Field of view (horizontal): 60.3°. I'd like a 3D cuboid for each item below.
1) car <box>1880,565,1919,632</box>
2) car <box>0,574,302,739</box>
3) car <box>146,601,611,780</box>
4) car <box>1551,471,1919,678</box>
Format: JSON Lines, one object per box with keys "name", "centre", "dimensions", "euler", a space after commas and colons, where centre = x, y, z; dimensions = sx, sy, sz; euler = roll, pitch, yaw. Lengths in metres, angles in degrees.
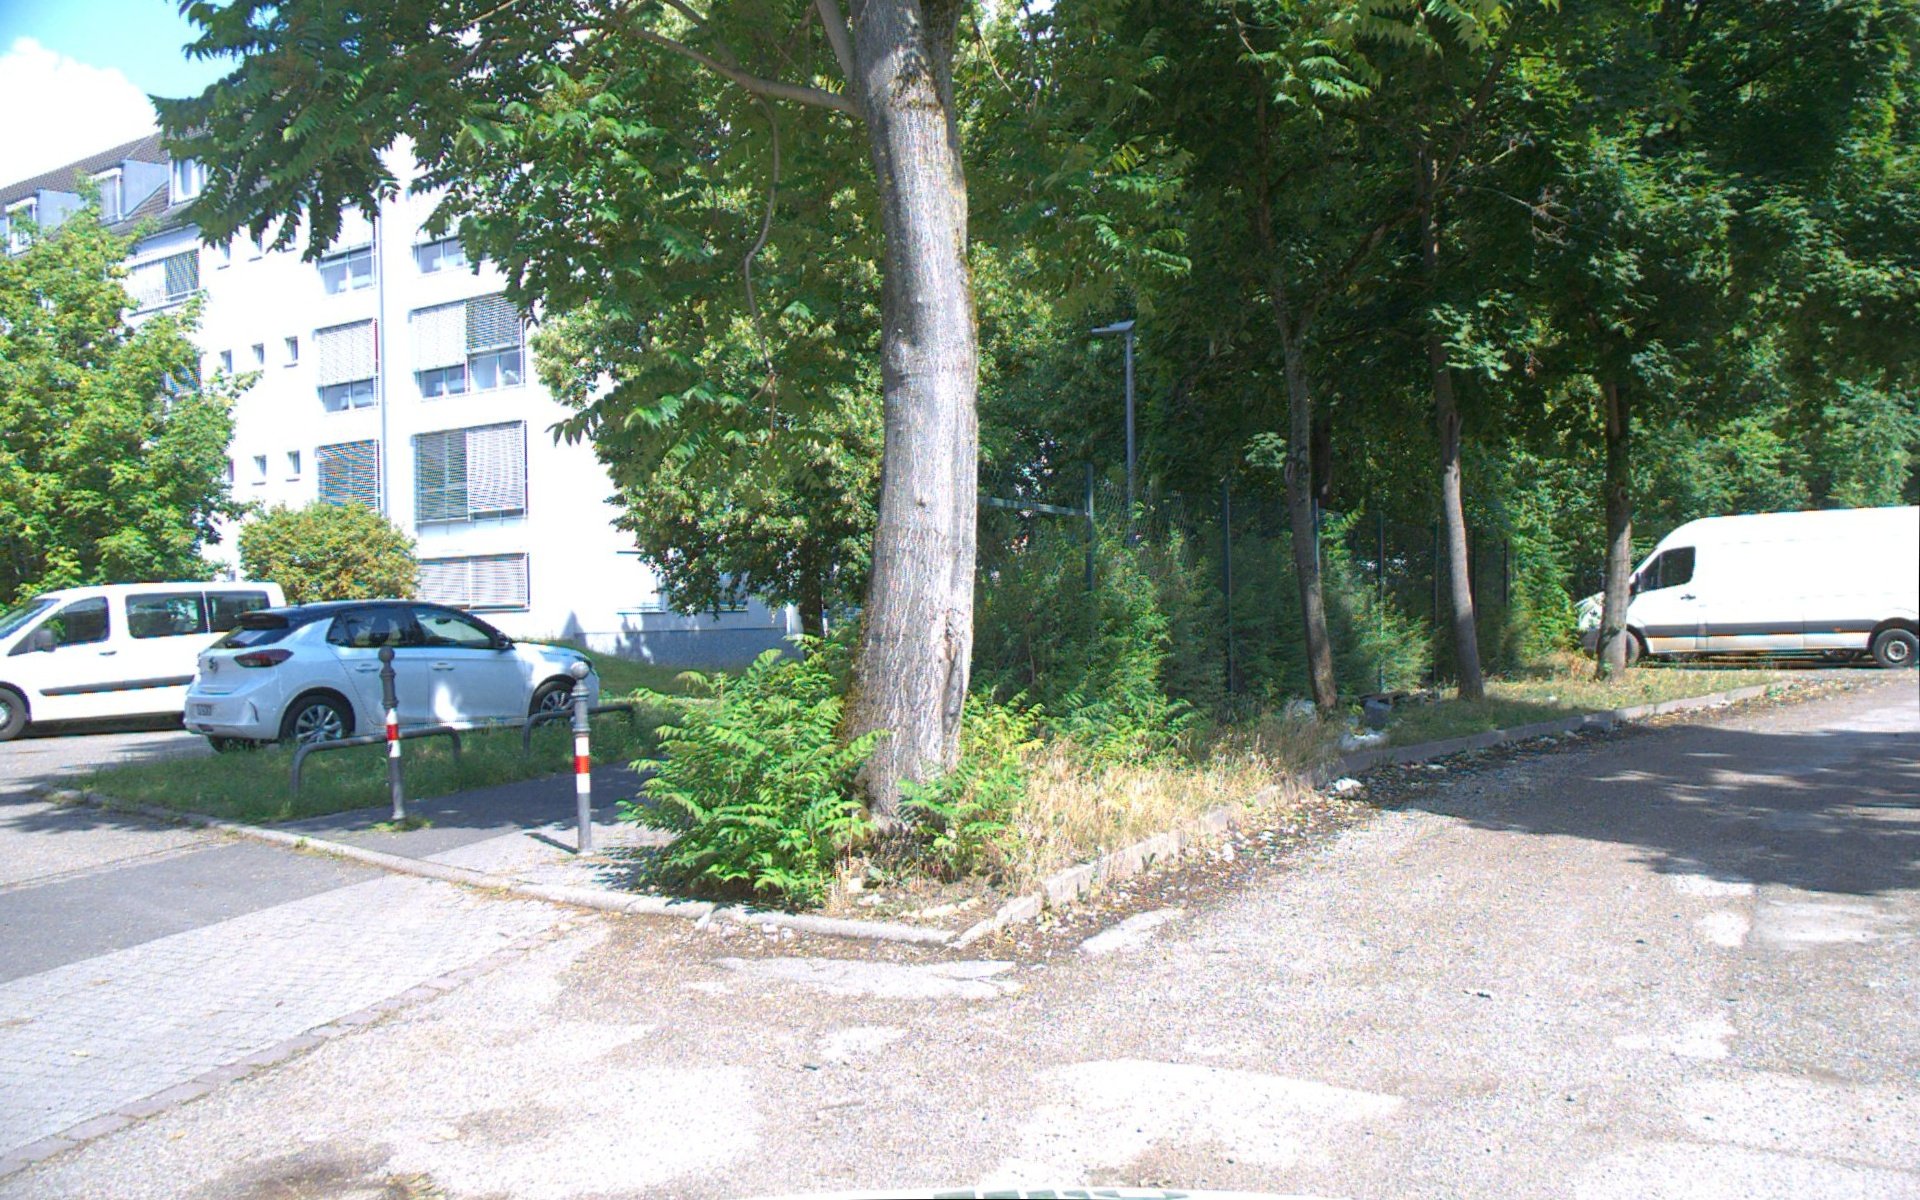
{"name": "car", "centre": [23.571, 0.071, 38.021], "dimensions": [3.927, 1.452, 1.835], "euler": [4, -1, 40]}
{"name": "car", "centre": [-11.477, 0.719, 21.657], "dimensions": [1.966, 1.999, 4.922], "euler": [0, -2, 43]}
{"name": "car", "centre": [-5.513, 0.807, 16.031], "dimensions": [1.727, 1.445, 3.893], "euler": [3, 1, 41]}
{"name": "car", "centre": [14.127, -0.447, 28.836], "dimensions": [6.820, 3.099, 1.998], "euler": [5, 1, 27]}
